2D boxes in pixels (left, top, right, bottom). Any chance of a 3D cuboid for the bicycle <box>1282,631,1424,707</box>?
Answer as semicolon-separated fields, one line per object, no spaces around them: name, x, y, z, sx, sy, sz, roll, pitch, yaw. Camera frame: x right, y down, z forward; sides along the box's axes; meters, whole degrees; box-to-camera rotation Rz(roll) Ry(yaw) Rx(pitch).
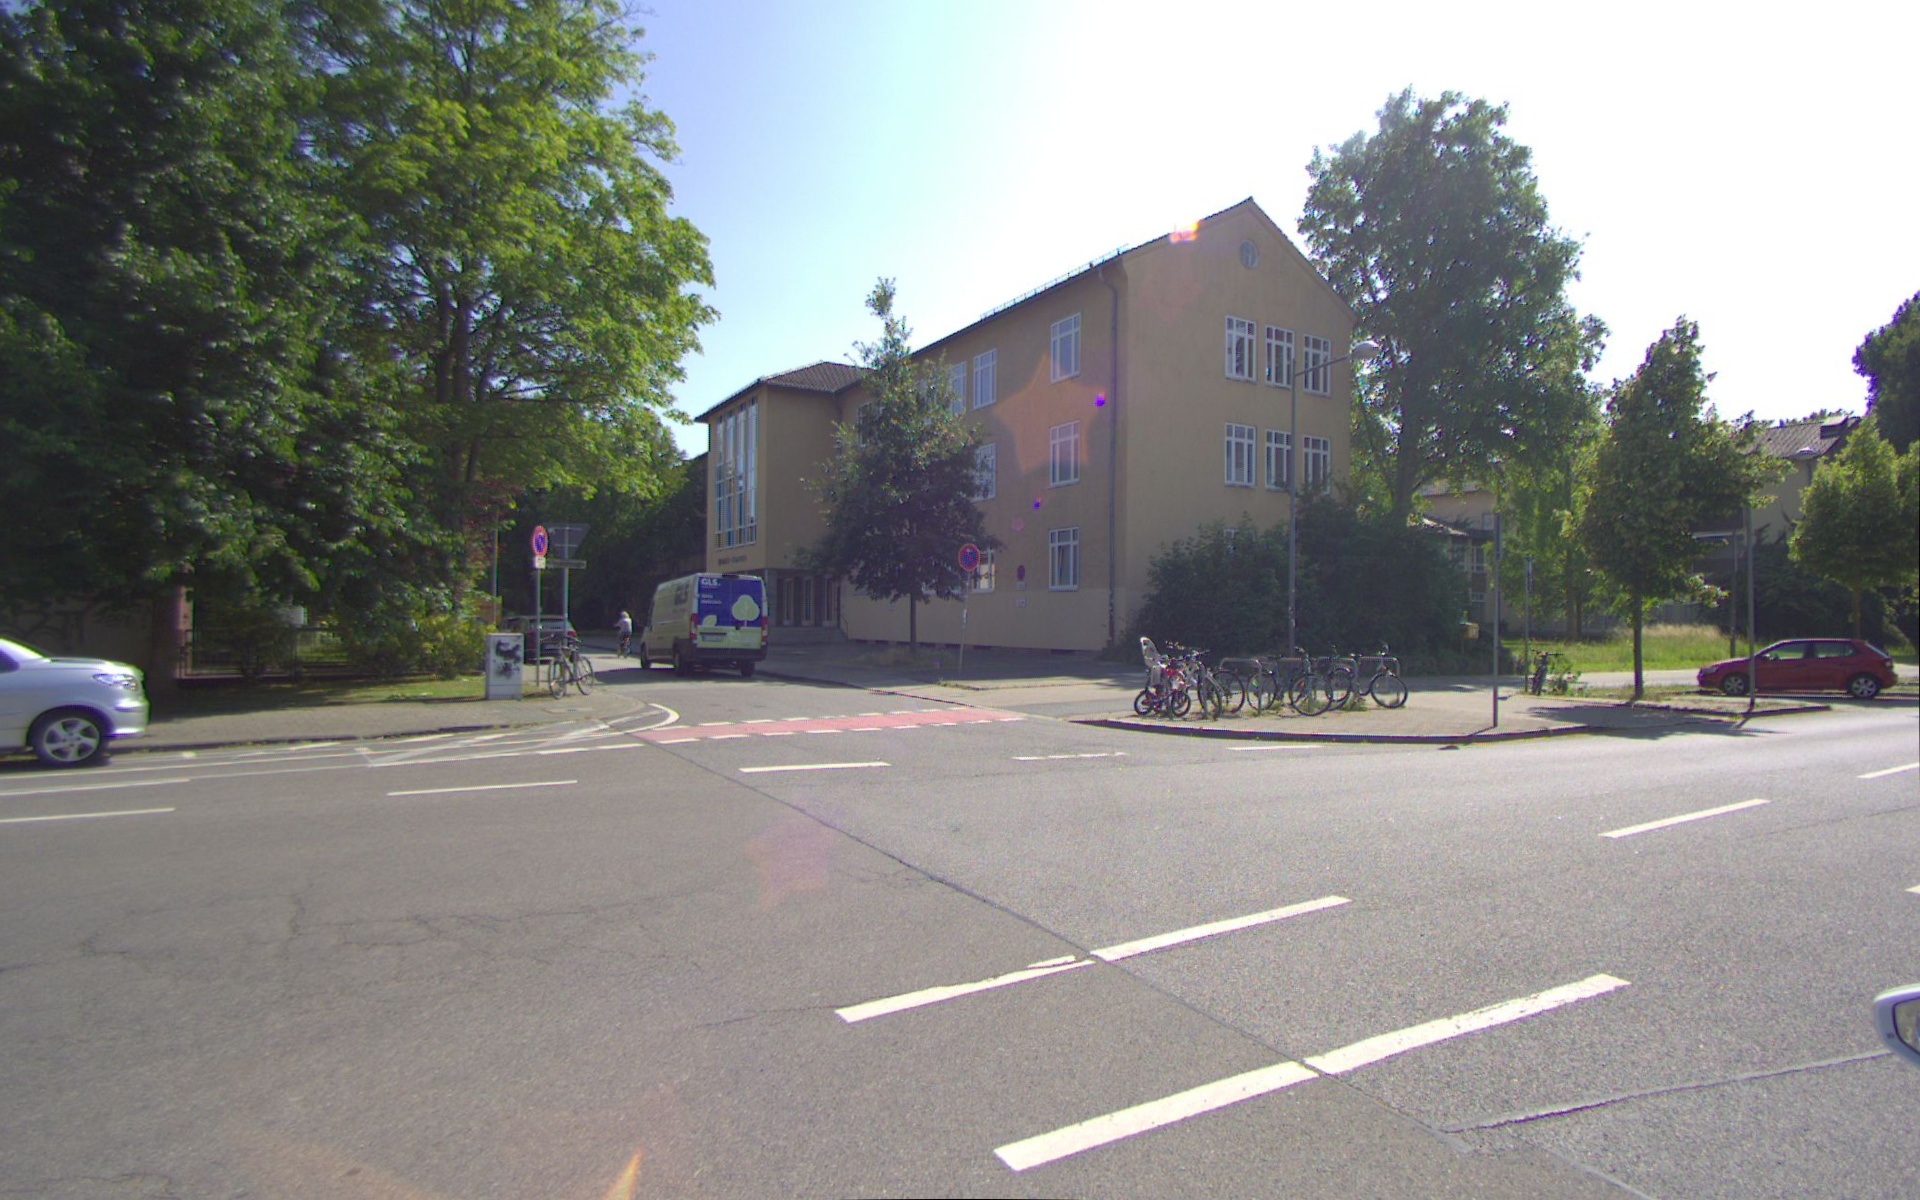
bicycle;7.252;1.242;18.685;0.731;1.273;2.530;1;-1;-33

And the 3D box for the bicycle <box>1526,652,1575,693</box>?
bicycle;13.758;1.670;23.396;1.258;0.915;0.517;2;-3;-36

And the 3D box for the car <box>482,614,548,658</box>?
car;-16.986;1.337;38.295;1.730;1.572;3.761;1;-1;-33

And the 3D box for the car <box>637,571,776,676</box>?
car;-7.088;0.682;27.523;2.255;2.557;6.090;1;-2;-29

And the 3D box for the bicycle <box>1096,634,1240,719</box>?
bicycle;3.323;1.188;16.348;0.731;1.273;2.530;0;-2;-33

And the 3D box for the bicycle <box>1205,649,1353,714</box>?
bicycle;5.413;1.356;17.242;0.731;1.000;2.530;0;-2;-33

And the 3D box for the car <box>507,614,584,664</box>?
car;-13.810;1.257;33.373;1.730;1.572;3.761;1;-1;-33

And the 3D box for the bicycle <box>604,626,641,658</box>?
bicycle;-12.510;1.534;37.214;0.947;1.128;2.536;0;-2;-27

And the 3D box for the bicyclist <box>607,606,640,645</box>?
bicyclist;-12.484;0.946;37.229;0.948;1.422;1.346;0;-2;-28

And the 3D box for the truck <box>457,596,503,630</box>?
truck;-38.607;1.037;80.634;2.211;2.630;8.741;0;-1;-33

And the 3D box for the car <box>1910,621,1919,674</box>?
car;35.110;1.632;33.800;4.107;1.840;2.004;0;-1;22

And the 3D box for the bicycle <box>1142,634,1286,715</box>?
bicycle;4.213;1.207;16.912;0.731;1.255;2.530;0;-2;-33

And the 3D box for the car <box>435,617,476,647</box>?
car;-29.708;1.840;59.112;1.843;1.728;3.966;0;-1;-31

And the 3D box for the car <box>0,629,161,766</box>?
car;-10.213;0.939;9.630;3.966;1.283;1.707;1;-2;-39

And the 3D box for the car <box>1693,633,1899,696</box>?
car;21.415;1.596;25.945;3.939;1.486;1.991;-2;-2;39

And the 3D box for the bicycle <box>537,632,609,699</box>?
bicycle;-6.878;1.138;17.943;0.370;1.095;1.717;0;-1;10

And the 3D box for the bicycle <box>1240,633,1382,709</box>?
bicycle;6.253;1.227;18.066;0.731;1.273;2.501;0;-2;-33
